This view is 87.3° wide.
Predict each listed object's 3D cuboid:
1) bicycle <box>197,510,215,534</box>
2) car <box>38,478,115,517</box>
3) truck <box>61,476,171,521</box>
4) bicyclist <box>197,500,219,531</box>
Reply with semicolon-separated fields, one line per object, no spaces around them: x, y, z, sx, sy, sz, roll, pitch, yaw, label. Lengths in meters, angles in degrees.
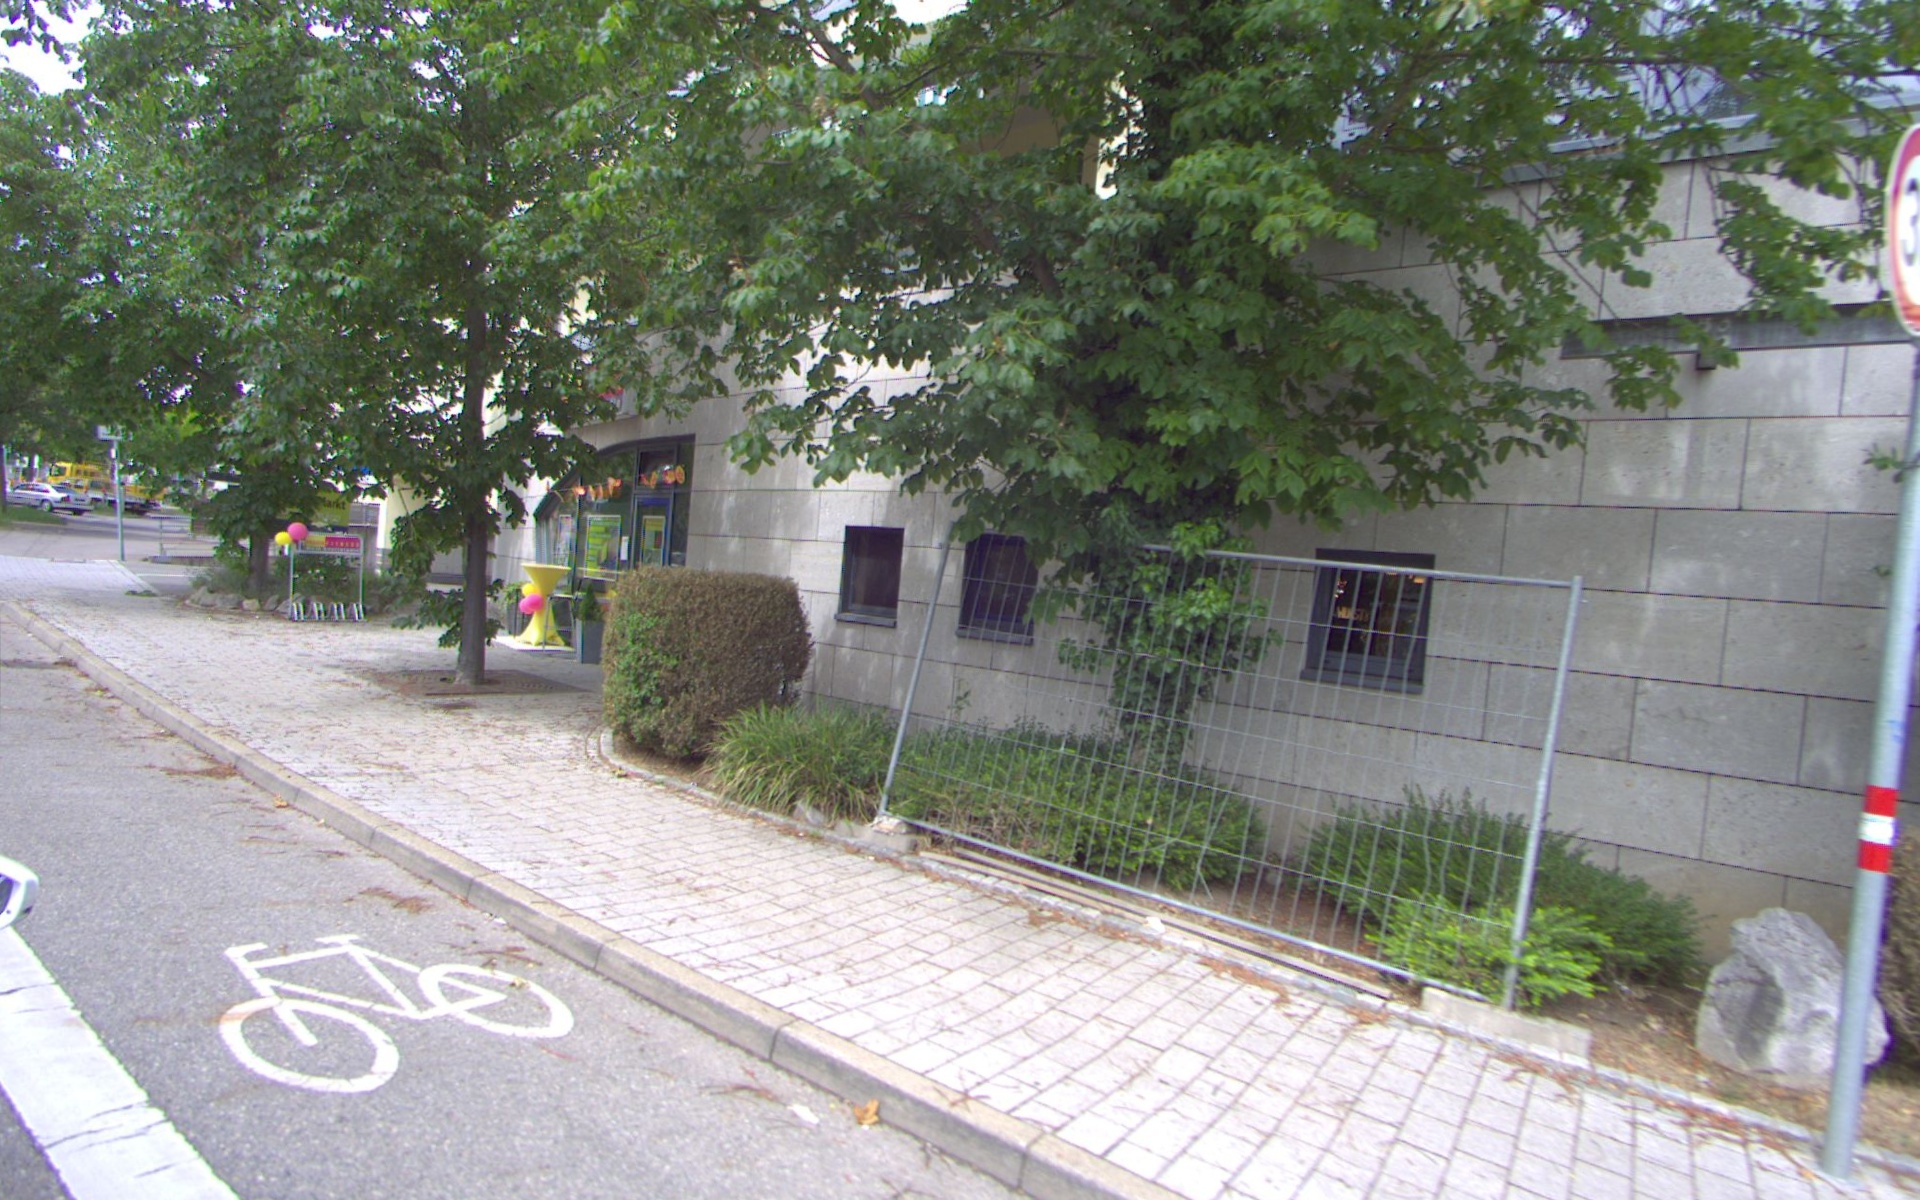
-37.445;-3.858;49.989;0.458;1.047;2.739;5;0;-33;bicycle
-59.183;-6.840;67.469;1.710;2.038;3.767;6;-1;-1;car
-54.549;-6.511;65.181;2.049;2.038;5.617;6;-1;3;truck
-37.550;-4.206;50.238;0.772;1.417;0.696;5;0;-35;bicyclist
